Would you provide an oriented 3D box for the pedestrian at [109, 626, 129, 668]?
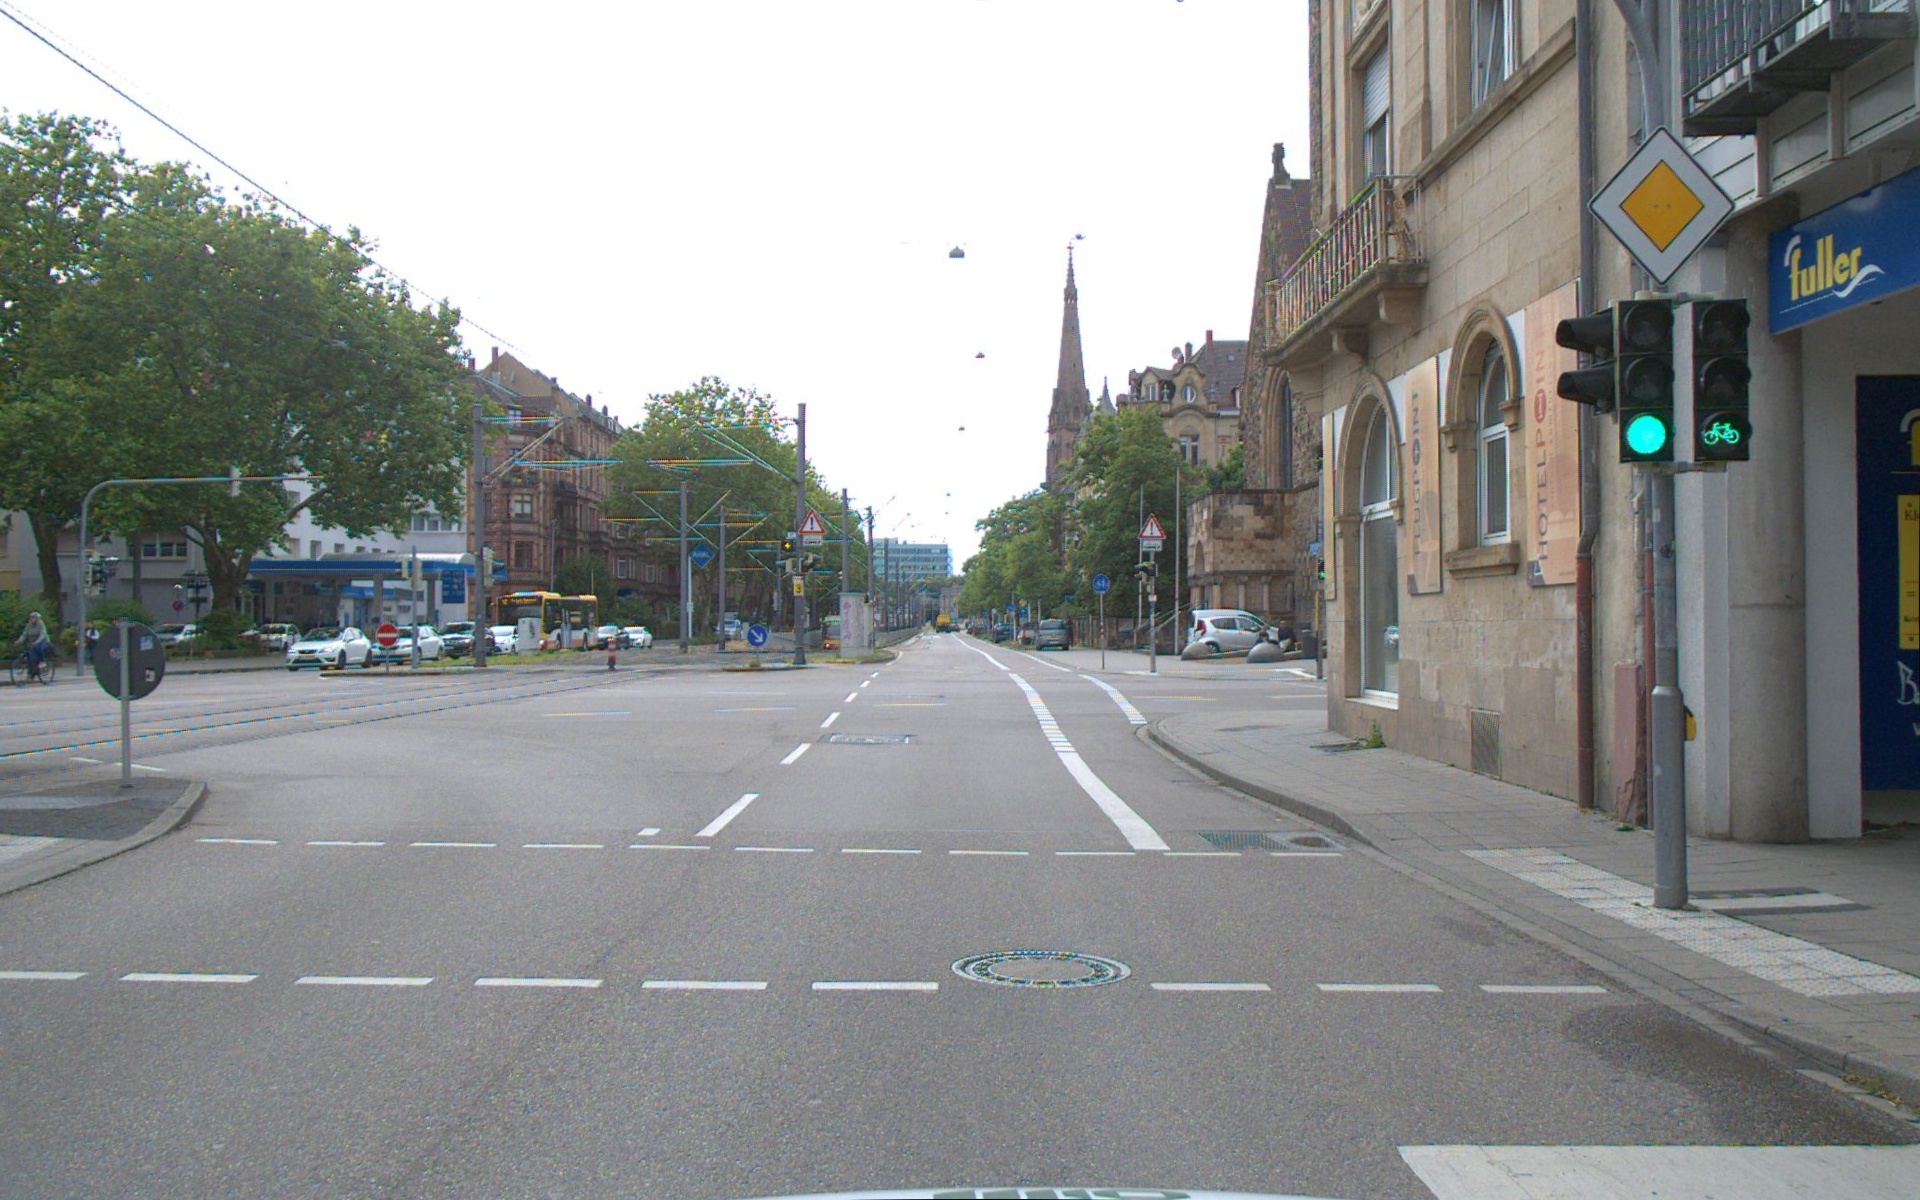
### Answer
[{"bbox_3d":[-27.346,1.531,53.795,0.446,1.349,0.469,0,-1,-7],"label":"pedestrian"}]

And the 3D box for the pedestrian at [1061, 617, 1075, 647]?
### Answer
[{"bbox_3d":[6.262,1.858,96.202,0.760,1.676,0.799,1,-1,5],"label":"pedestrian"}]

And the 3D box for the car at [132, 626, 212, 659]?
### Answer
[{"bbox_3d":[-37.751,2.021,79.292,1.953,1.492,3.999,0,-1,-1],"label":"car"}]

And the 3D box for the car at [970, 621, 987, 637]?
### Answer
[{"bbox_3d":[2.397,3.754,216.632,1.953,2.049,3.998,1,-1,-2],"label":"car"}]

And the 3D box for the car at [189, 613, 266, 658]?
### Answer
[{"bbox_3d":[-35.001,1.678,79.167,1.953,2.049,3.999,-1,-1,-1],"label":"car"}]

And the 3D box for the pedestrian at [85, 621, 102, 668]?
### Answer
[{"bbox_3d":[-28.017,1.440,53.490,0.354,1.505,0.373,0,-1,-7],"label":"pedestrian"}]

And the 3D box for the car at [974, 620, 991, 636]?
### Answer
[{"bbox_3d":[2.885,3.586,209.035,1.953,1.959,3.998,1,-1,-2],"label":"car"}]

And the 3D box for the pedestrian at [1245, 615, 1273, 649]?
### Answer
[{"bbox_3d":[10.762,1.139,59.518,0.721,1.212,1.493,1,-1,0],"label":"pedestrian"}]

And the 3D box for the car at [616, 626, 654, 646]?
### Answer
[{"bbox_3d":[-21.156,2.354,107.767,1.667,1.242,3.890,1,-1,0],"label":"car"}]

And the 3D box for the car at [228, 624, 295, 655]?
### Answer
[{"bbox_3d":[-32.607,1.808,77.275,1.667,1.382,3.403,1,-1,0],"label":"car"}]

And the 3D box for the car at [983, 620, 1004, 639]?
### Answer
[{"bbox_3d":[3.438,3.043,170.789,1.953,1.915,3.999,0,-1,-1],"label":"car"}]

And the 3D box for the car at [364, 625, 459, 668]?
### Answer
[{"bbox_3d":[-21.181,1.776,64.096,1.803,1.552,5.701,1,-1,-1],"label":"car"}]

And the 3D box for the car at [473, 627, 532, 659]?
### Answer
[{"bbox_3d":[-21.364,1.979,77.311,1.667,1.422,3.890,1,-1,0],"label":"car"}]

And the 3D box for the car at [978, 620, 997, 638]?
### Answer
[{"bbox_3d":[3.106,3.283,189.244,1.953,2.049,3.998,1,-1,-2],"label":"car"}]

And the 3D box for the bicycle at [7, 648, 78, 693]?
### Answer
[{"bbox_3d":[-23.888,1.826,43.092,0.712,1.083,1.992,-2,-1,-1],"label":"bicycle"}]

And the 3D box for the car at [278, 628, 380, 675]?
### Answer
[{"bbox_3d":[-21.425,1.726,56.317,1.804,1.473,4.412,1,-1,-1],"label":"car"}]

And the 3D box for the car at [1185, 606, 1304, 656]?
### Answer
[{"bbox_3d":[11.461,1.231,66.854,4.517,1.914,1.662,1,-1,-1],"label":"car"}]

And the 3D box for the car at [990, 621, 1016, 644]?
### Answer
[{"bbox_3d":[3.491,2.638,134.566,1.953,1.852,3.999,0,-1,-1],"label":"car"}]

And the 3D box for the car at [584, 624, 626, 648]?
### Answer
[{"bbox_3d":[-21.580,2.179,100.595,1.667,1.382,3.890,1,-1,0],"label":"car"}]

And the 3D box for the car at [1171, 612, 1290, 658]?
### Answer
[{"bbox_3d":[10.313,1.338,63.338,4.260,1.665,1.662,1,-1,-1],"label":"car"}]

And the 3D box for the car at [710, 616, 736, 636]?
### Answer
[{"bbox_3d":[-21.113,2.315,147.502,1.667,1.742,3.890,1,-1,0],"label":"car"}]

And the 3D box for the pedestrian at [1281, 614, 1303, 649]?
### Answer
[{"bbox_3d":[12.071,1.139,60.135,0.721,1.250,1.063,1,-1,14],"label":"pedestrian"}]

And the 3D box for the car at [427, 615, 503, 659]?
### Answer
[{"bbox_3d":[-21.187,1.566,70.975,1.667,1.814,5.149,1,-1,0],"label":"car"}]
